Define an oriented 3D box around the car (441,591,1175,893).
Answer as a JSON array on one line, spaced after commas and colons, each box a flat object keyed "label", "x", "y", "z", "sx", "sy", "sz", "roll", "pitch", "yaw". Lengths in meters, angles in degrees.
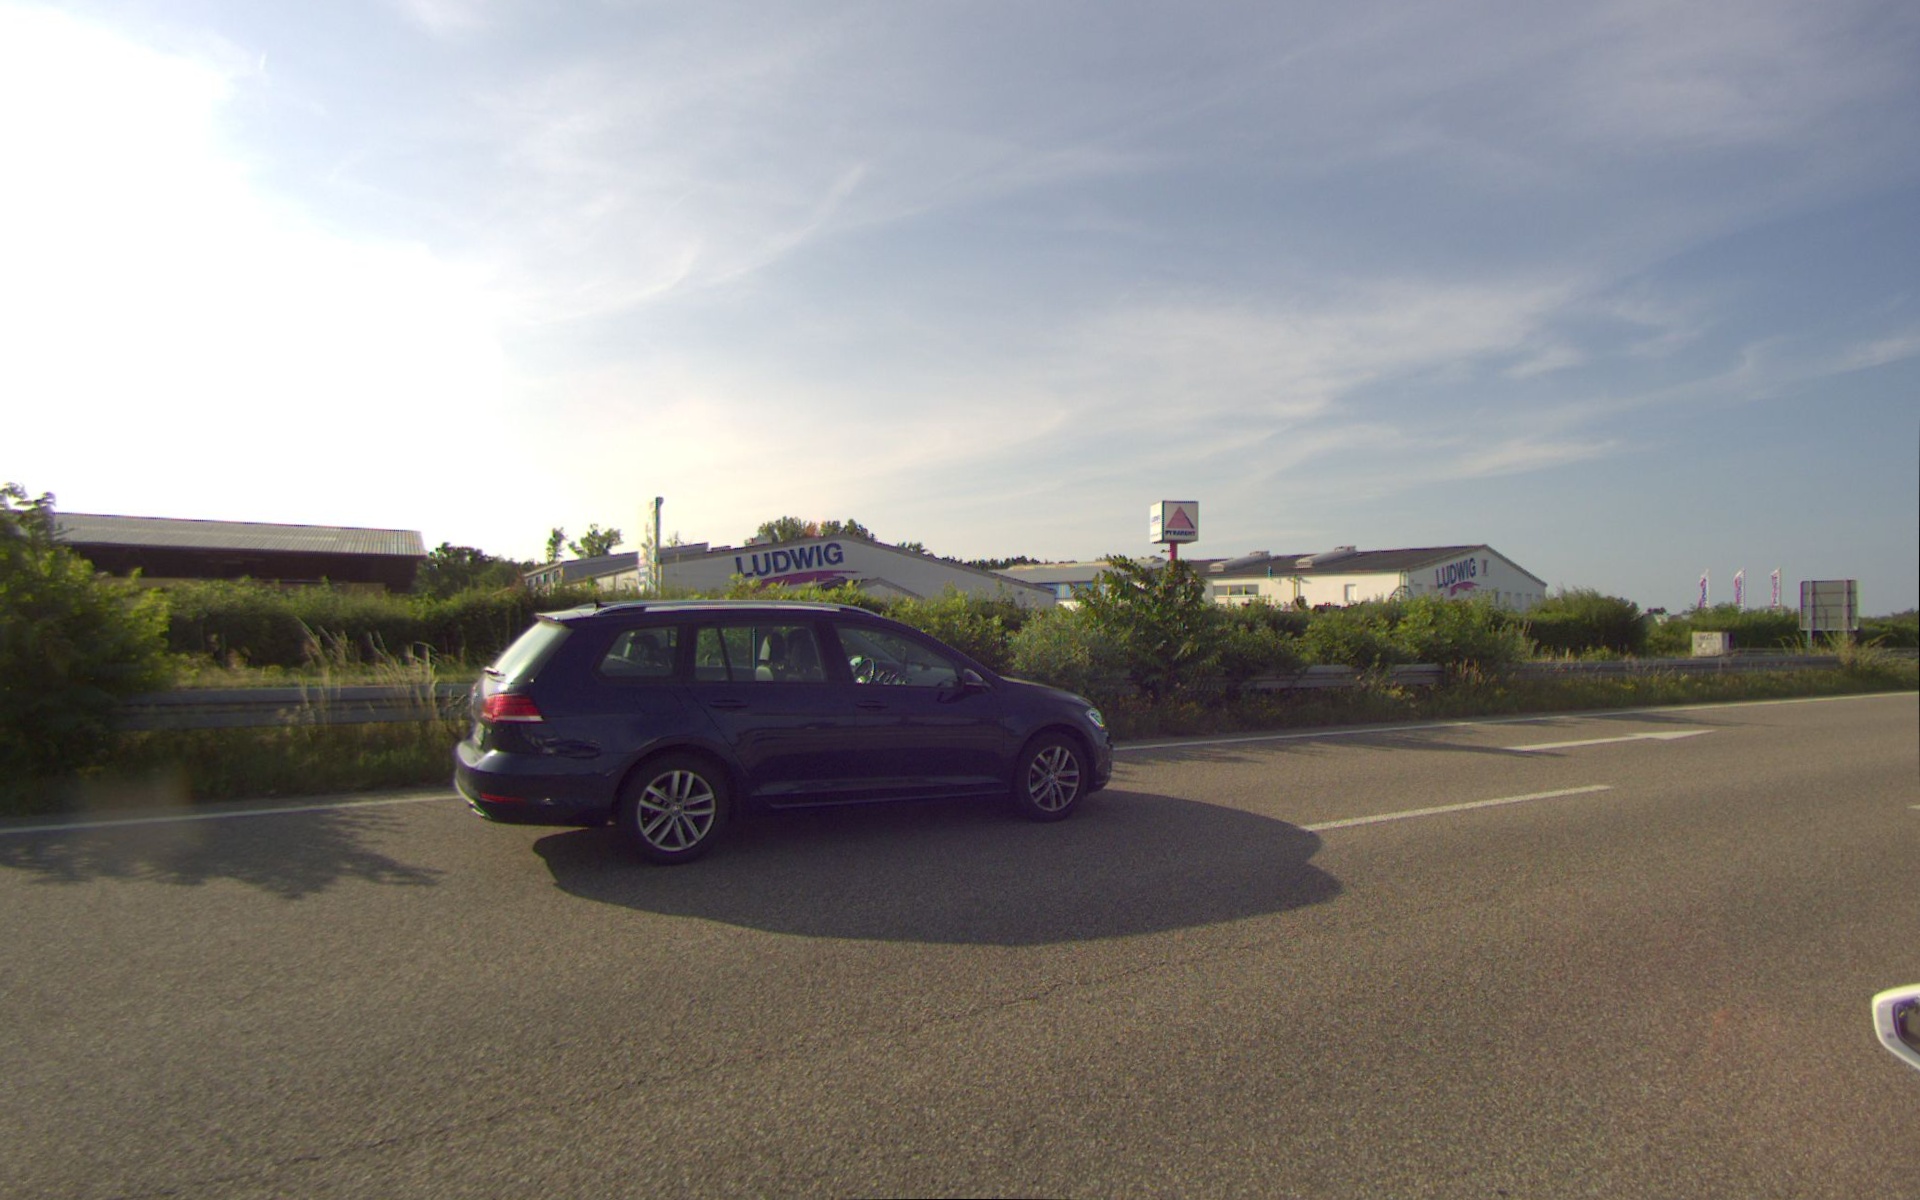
[{"label": "car", "x": -0.854, "y": 0.756, "z": 6.878, "sx": 4.720, "sy": 1.490, "sz": 1.638, "roll": 1, "pitch": -1, "yaw": -31}]
